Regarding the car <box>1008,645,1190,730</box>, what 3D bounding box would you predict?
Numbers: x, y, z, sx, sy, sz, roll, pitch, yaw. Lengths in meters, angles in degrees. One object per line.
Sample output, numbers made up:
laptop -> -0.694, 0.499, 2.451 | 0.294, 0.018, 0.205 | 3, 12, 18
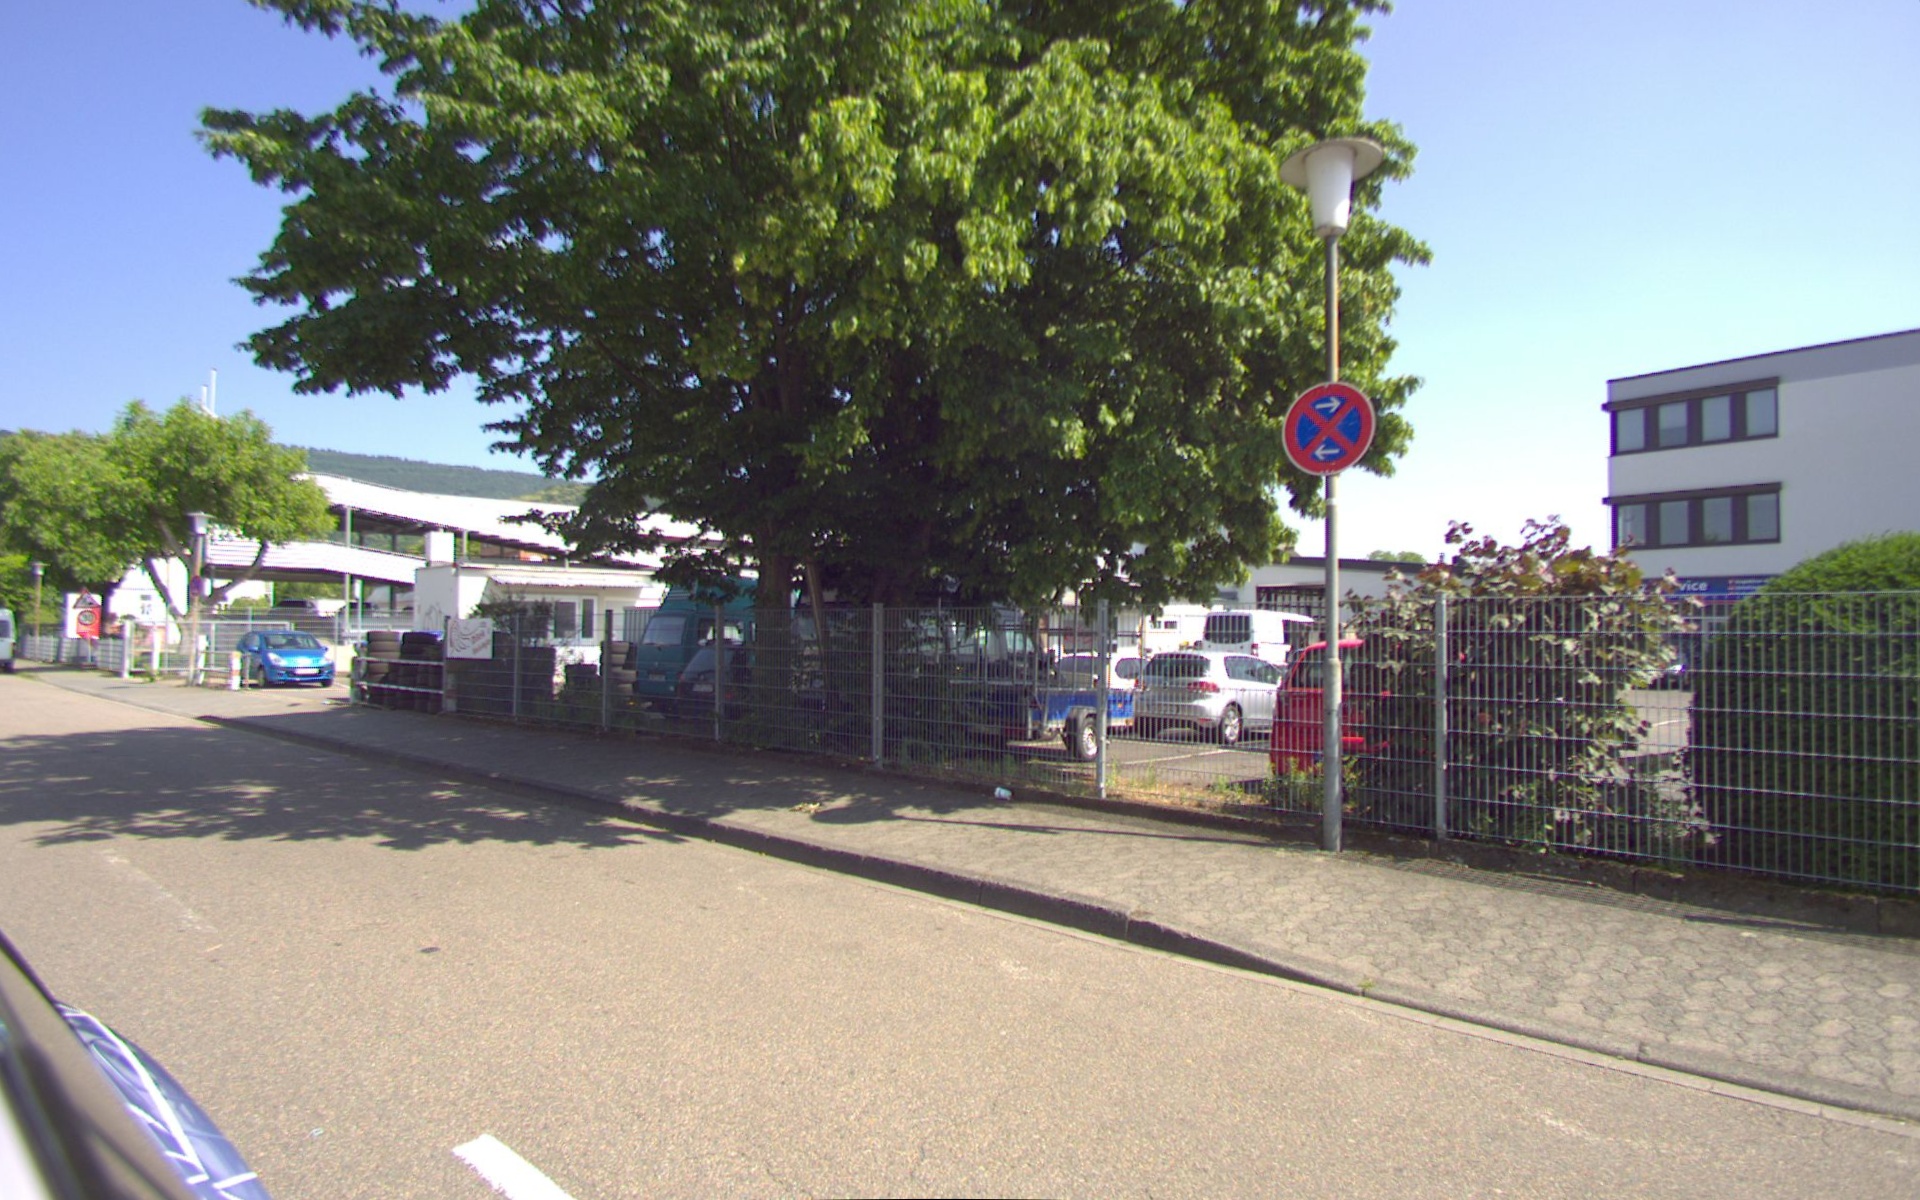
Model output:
car -> 2.651, 1.541, 18.779 | 1.730, 1.389, 3.588 | -1, -3, 40

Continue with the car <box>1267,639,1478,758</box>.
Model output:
car -> 6.437, 1.397, 15.561 | 1.973, 1.560, 3.948 | -1, -3, 39

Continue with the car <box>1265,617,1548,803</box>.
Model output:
car -> 4.489, 1.012, 9.938 | 1.518, 1.496, 3.341 | -1, -5, 43

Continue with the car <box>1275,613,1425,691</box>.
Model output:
car -> 11.116, 1.460, 28.743 | 4.507, 2.029, 2.061 | 2, -3, -40

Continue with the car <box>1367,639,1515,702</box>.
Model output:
car -> 13.110, 1.857, 27.484 | 4.355, 1.569, 1.995 | 2, -3, -40

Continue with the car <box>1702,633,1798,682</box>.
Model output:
car -> 24.301, 1.748, 31.101 | 3.079, 1.437, 1.425 | 2, -3, -34

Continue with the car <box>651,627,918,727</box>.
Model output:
car -> -2.718, 1.169, 16.257 | 1.861, 1.397, 3.870 | -2, -3, 45

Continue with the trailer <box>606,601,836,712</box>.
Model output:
trailer -> -5.229, 1.142, 22.621 | 1.999, 2.171, 4.719 | -1, 0, 42

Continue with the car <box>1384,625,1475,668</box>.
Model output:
car -> 17.693, 1.699, 38.120 | 3.524, 1.433, 1.713 | -1, 0, -39

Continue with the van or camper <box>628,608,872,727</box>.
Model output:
van or camper -> -3.754, 1.123, 18.600 | 1.774, 1.877, 4.137 | -1, 0, 43

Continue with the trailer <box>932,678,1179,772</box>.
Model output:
trailer -> 1.335, 1.561, 13.314 | 1.612, 0.946, 3.246 | -2, -3, 43

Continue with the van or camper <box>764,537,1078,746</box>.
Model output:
van or camper -> -0.404, 0.650, 14.903 | 1.846, 2.596, 4.604 | -1, -4, 43

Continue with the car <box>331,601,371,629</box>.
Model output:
car -> -34.076, 0.825, 56.676 | 1.680, 1.469, 3.536 | -1, 0, -27

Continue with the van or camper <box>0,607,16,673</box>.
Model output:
van or camper -> -36.921, 1.444, 37.695 | 4.683, 2.395, 2.002 | -1, -3, 41

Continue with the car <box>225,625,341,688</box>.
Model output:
car -> -17.701, 1.409, 26.416 | 3.523, 1.469, 1.624 | -1, 0, 40

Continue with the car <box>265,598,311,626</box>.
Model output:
car -> -36.235, 0.686, 54.654 | 1.680, 1.469, 3.536 | 1, -2, -27

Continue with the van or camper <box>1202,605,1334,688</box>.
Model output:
van or camper -> 9.391, 1.374, 30.667 | 4.532, 2.323, 1.783 | 2, -2, -42

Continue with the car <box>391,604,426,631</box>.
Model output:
car -> -31.911, 0.980, 58.663 | 1.680, 1.469, 3.536 | -1, 0, -27

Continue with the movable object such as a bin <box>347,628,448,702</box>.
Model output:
movable object such as a bin -> -11.625, 1.297, 20.881 | 1.364, 1.368, 2.105 | -1, 0, -43

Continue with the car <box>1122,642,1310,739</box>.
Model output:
car -> 4.464, 1.463, 17.340 | 1.684, 1.463, 3.734 | -2, -3, 40
